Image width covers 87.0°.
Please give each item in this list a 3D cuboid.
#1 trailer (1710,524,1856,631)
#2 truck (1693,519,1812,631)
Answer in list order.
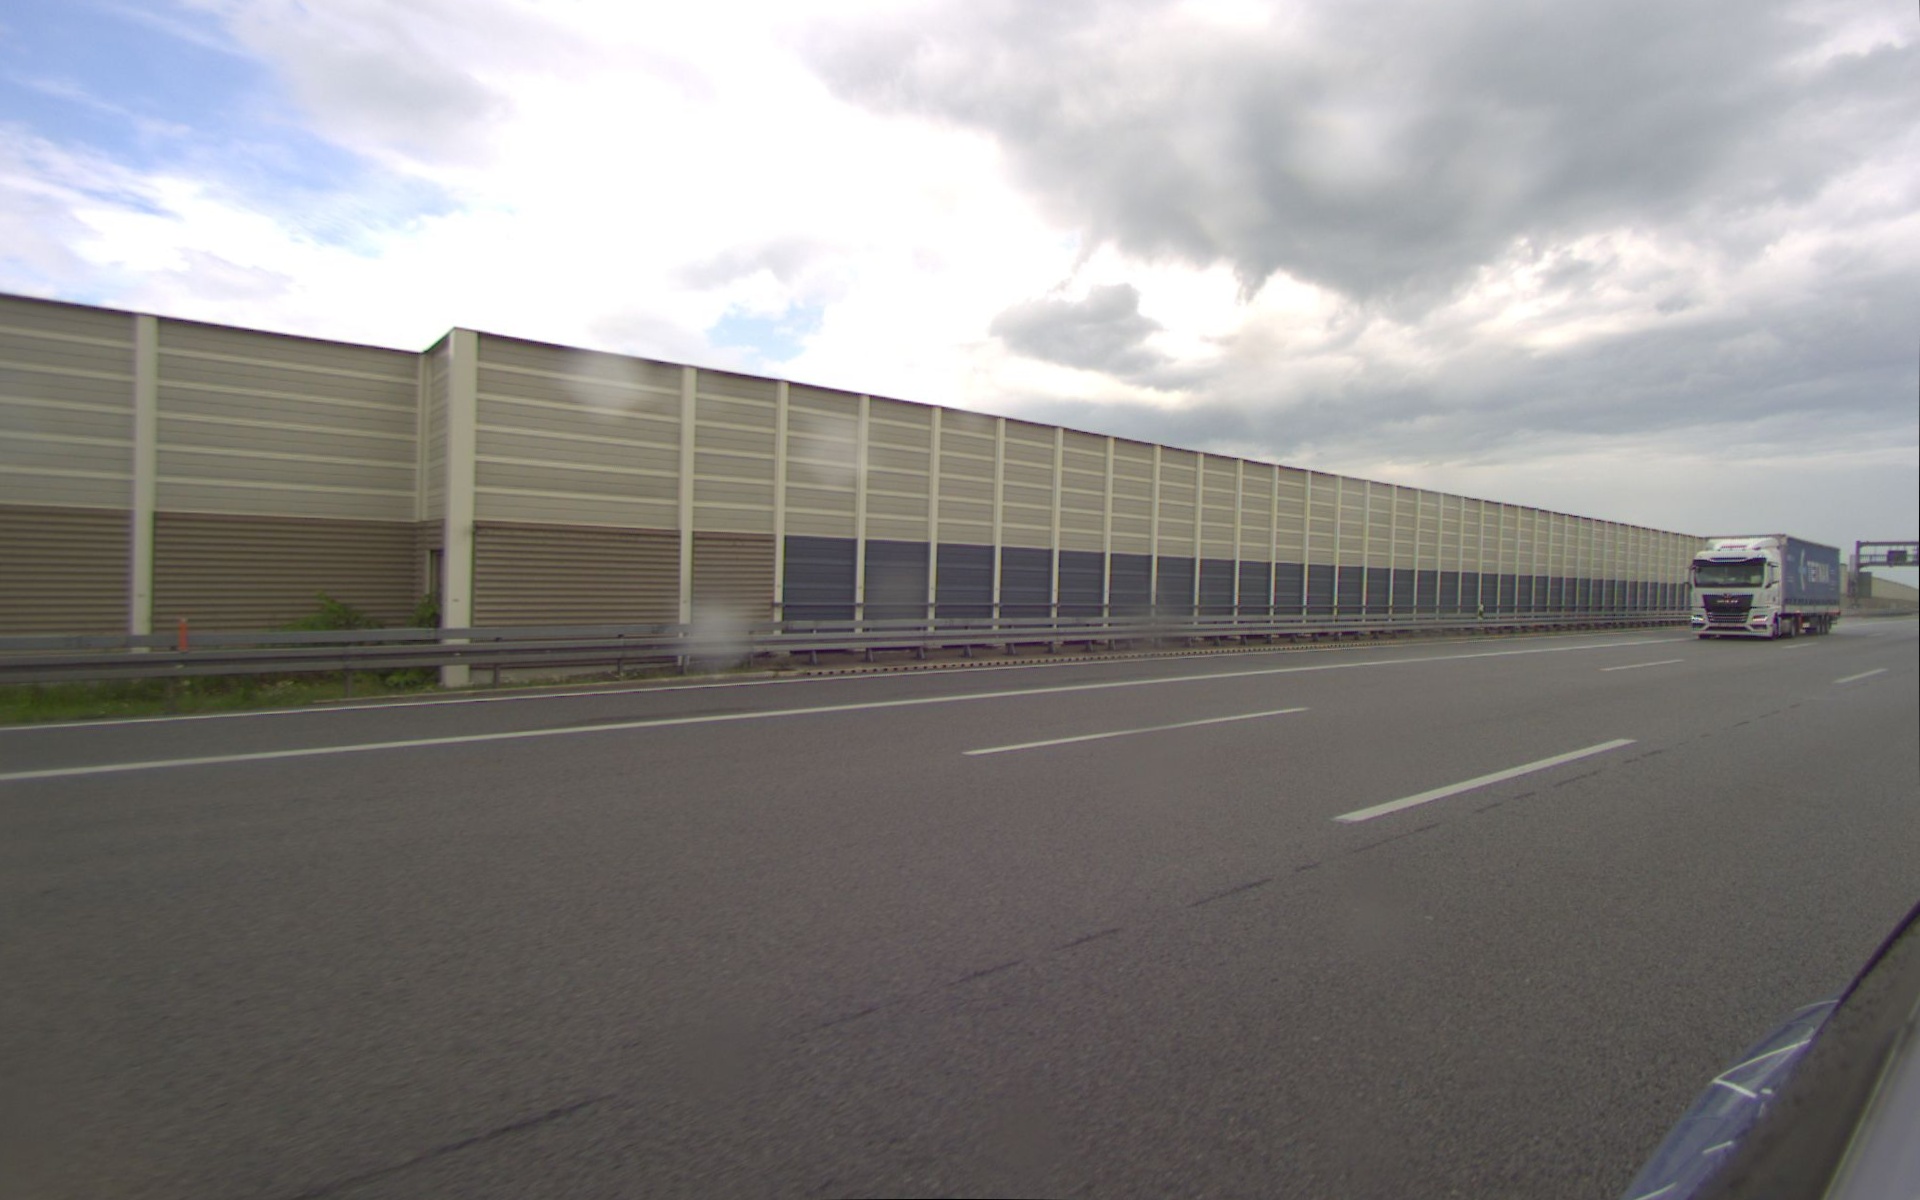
[{"bbox_3d":[36.534,-0.842,44.603,14.202,4.083,2.765,0,0,-42],"label":"trailer"},{"bbox_3d":[31.368,-0.922,39.984,5.627,4.086,2.749,1,0,-42],"label":"truck"}]
